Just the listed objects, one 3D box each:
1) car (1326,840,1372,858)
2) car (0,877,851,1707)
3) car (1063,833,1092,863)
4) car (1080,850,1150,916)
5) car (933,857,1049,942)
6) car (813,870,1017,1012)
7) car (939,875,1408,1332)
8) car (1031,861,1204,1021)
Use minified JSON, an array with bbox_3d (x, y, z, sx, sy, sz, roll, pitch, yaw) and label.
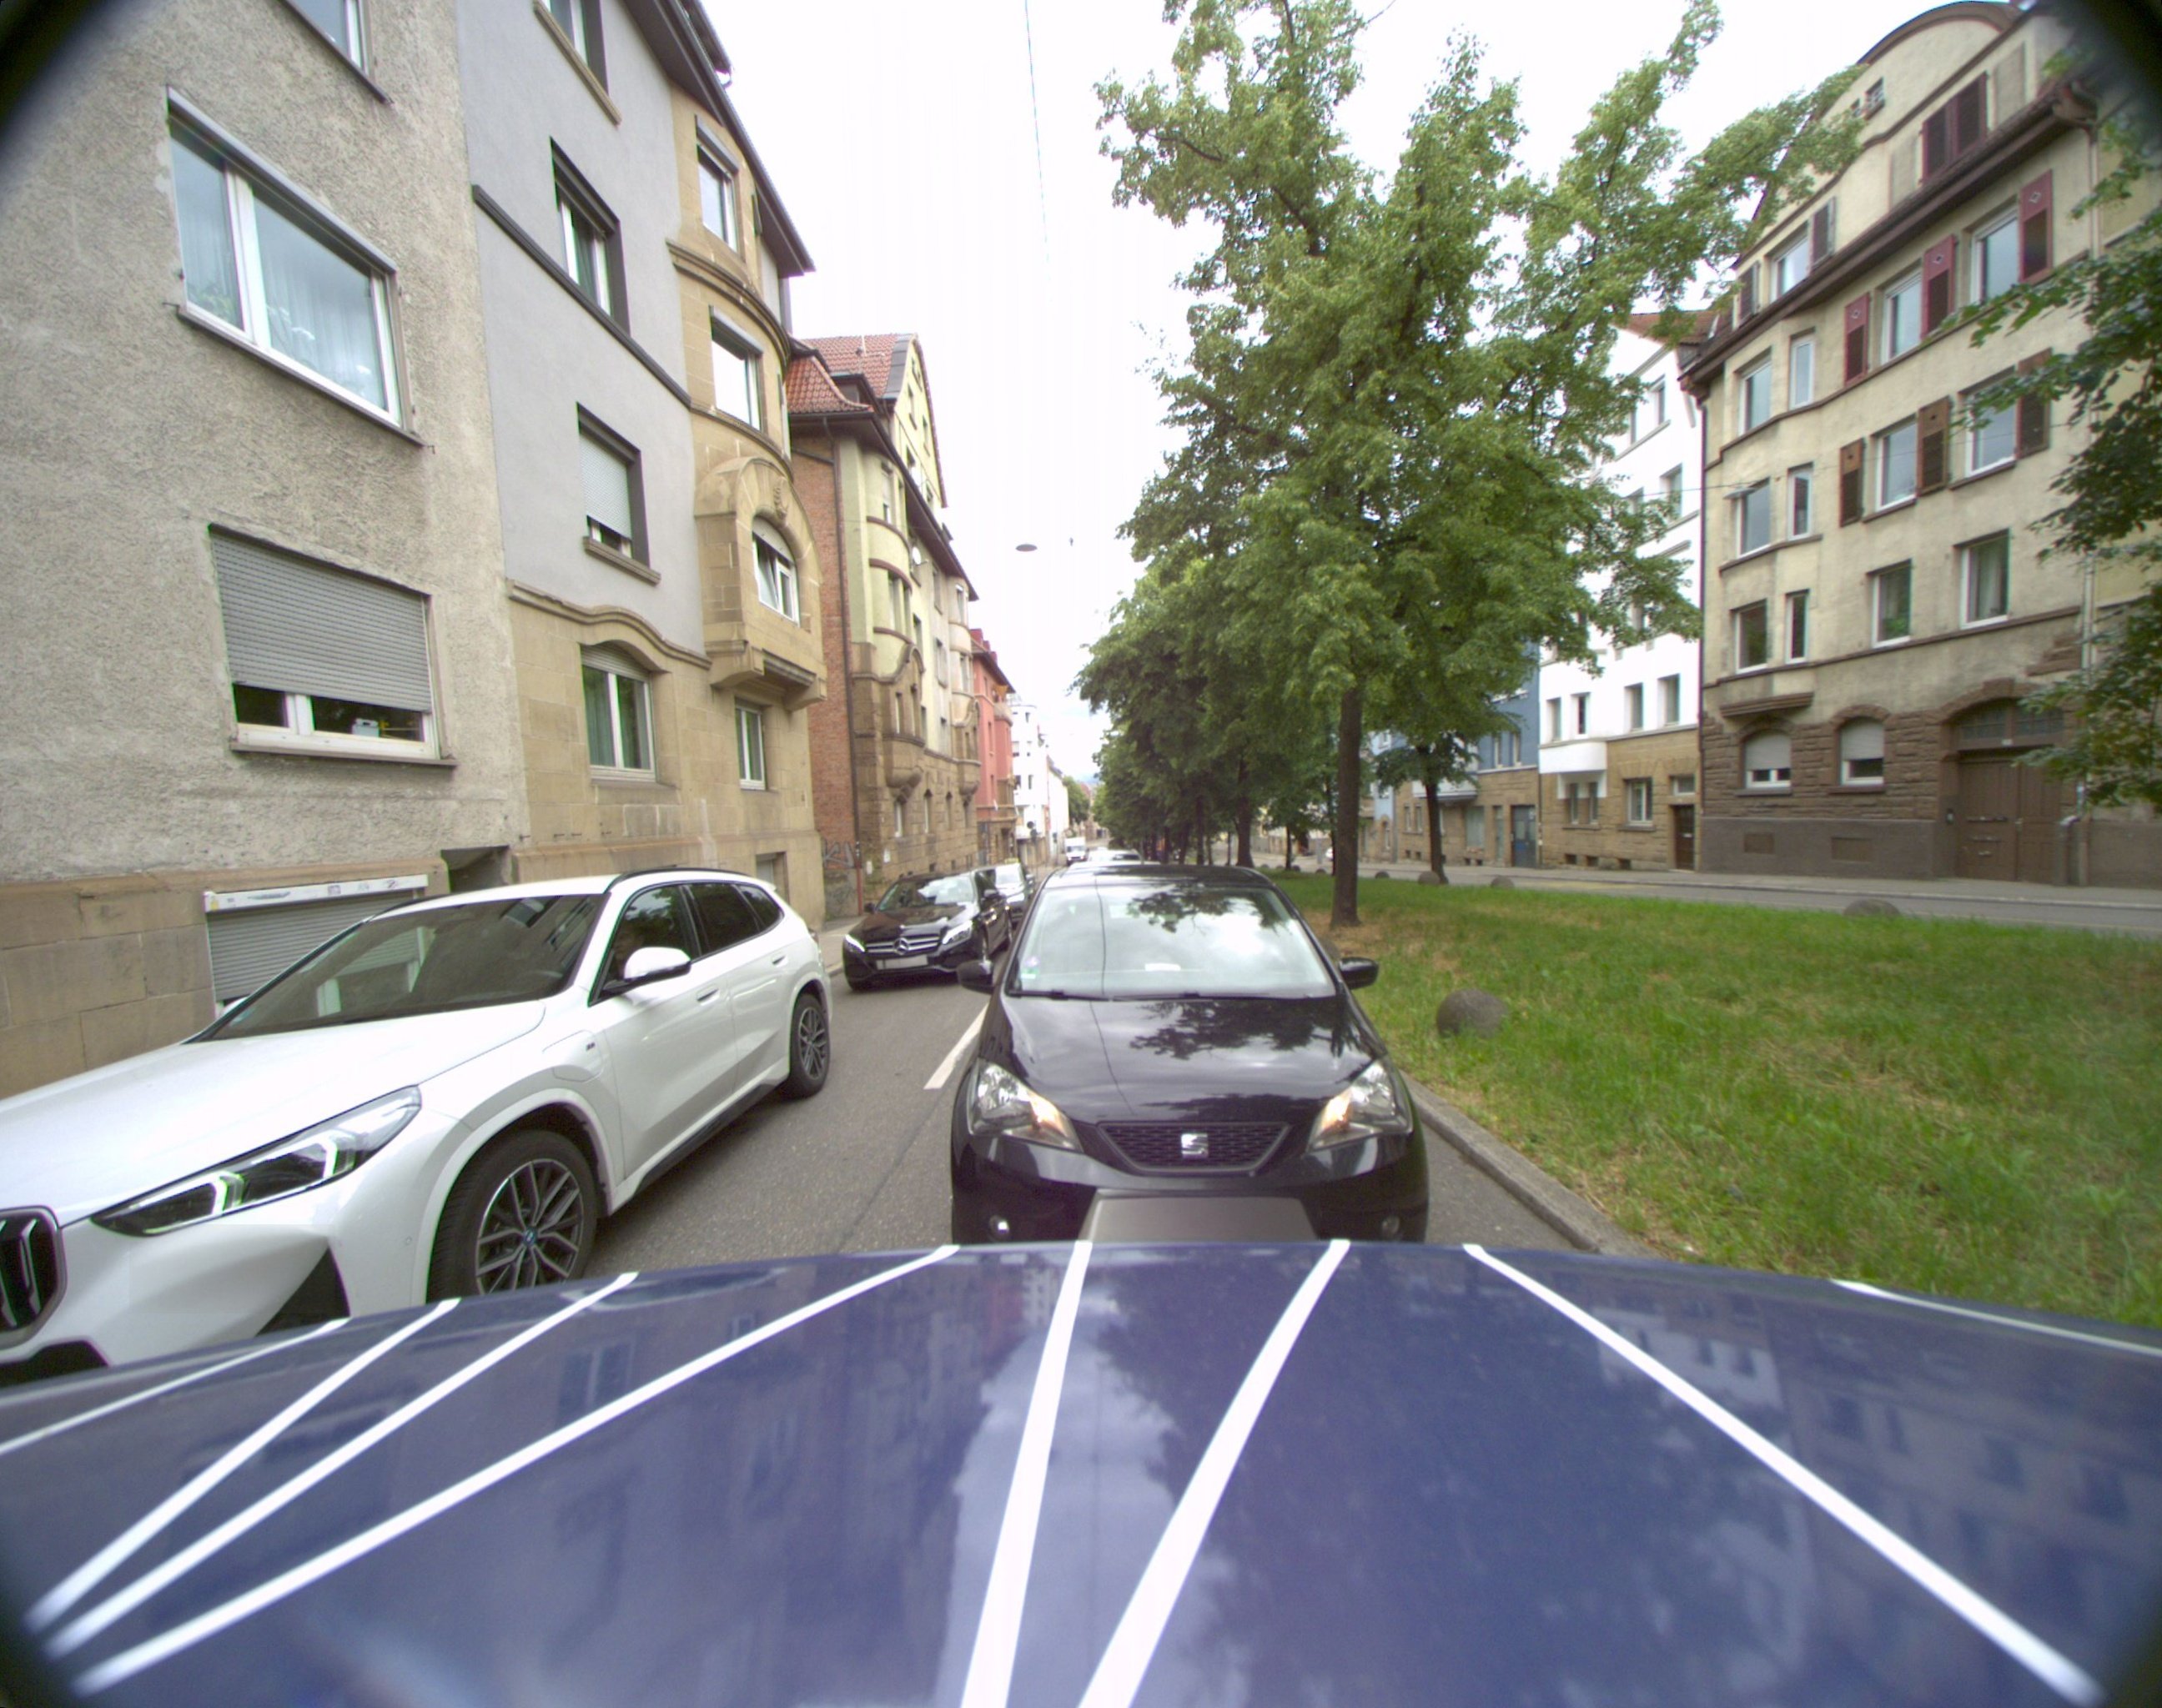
[{"bbox_3d":[22.215,-0.424,63.107,3.291,1.323,1.672,-2,1,10],"label":"car"},{"bbox_3d":[-2.813,1.078,3.746,1.859,1.547,4.350,-6,1,0],"label":"car"},{"bbox_3d":[-0.332,-0.659,78.985,2.716,2.879,6.452,-2,1,0],"label":"car"},{"bbox_3d":[0.829,0.676,19.877,1.607,1.492,3.737,-2,1,1],"label":"car"},{"bbox_3d":[-1.966,0.951,17.944,1.936,1.506,4.303,-6,1,2],"label":"car"},{"bbox_3d":[-2.143,1.082,11.130,1.884,1.369,4.205,-6,1,1],"label":"car"},{"bbox_3d":[0.343,0.916,4.277,1.611,1.457,3.296,0,1,1],"label":"car"},{"bbox_3d":[0.390,0.886,9.327,1.664,1.456,3.580,-2,1,1],"label":"car"}]
